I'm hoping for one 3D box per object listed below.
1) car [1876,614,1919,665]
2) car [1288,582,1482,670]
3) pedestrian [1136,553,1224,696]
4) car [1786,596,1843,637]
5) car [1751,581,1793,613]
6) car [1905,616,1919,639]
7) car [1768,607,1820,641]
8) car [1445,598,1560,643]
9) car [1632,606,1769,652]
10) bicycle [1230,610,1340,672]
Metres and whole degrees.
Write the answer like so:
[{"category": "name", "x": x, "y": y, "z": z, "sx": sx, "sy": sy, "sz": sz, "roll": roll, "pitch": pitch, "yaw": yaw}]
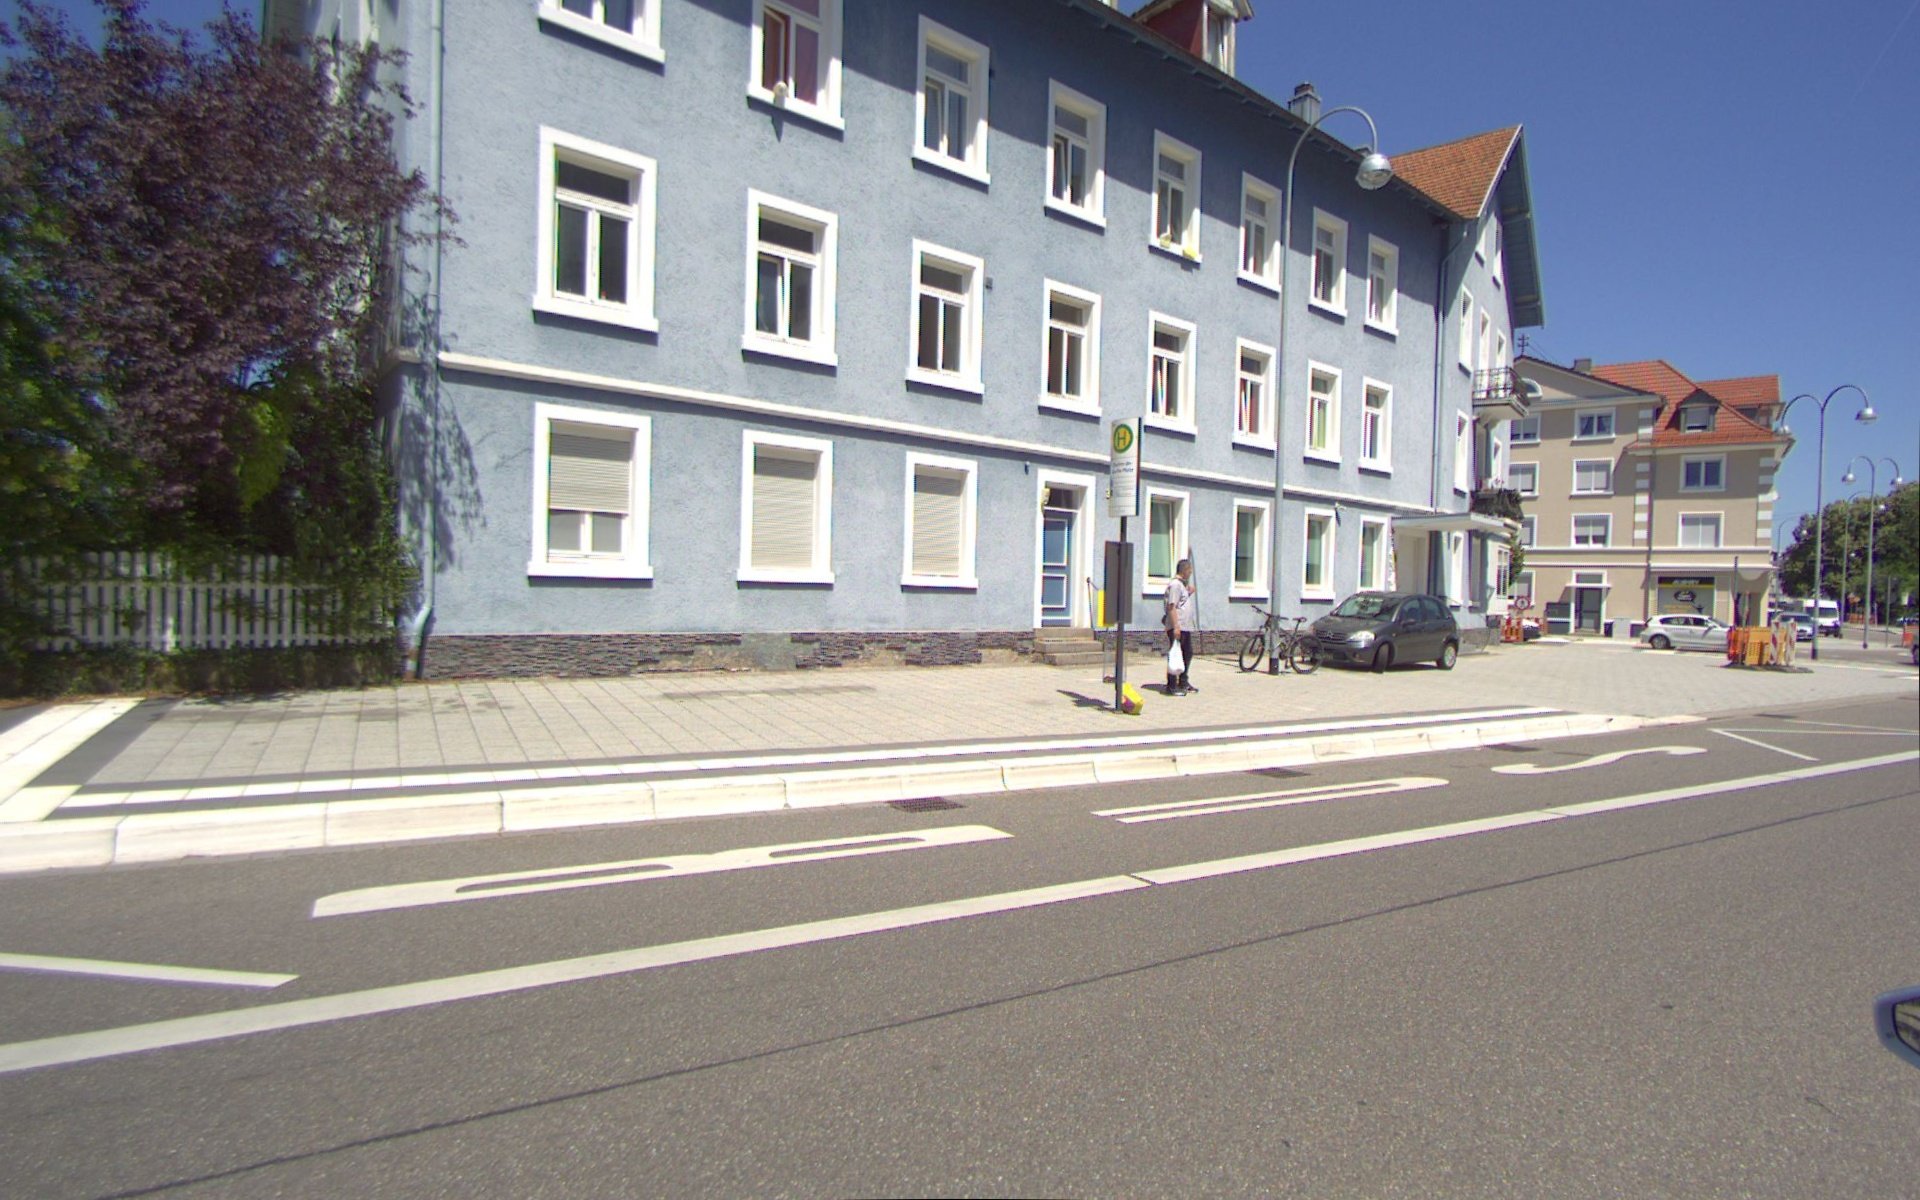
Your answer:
[{"category": "car", "x": 30.901, "y": 1.186, "z": 31.105, "sx": 1.807, "sy": 1.549, "sz": 4.396, "roll": -4, "pitch": -3, "yaw": 14}, {"category": "car", "x": 8.512, "y": 0.538, "z": 20.071, "sx": 3.730, "sy": 1.554, "sz": 1.570, "roll": 3, "pitch": 0, "yaw": -30}, {"category": "pedestrian", "x": 3.041, "y": 0.323, "z": 13.914, "sx": 0.765, "sy": 1.873, "sz": 0.749, "roll": 1, "pitch": 4, "yaw": -38}, {"category": "car", "x": 59.814, "y": 1.137, "z": 70.430, "sx": 2.115, "sy": 2.566, "sz": 6.220, "roll": 4, "pitch": 2, "yaw": 33}, {"category": "car", "x": 68.532, "y": -0.227, "z": 84.840, "sx": 2.115, "sy": 2.566, "sz": 4.841, "roll": 4, "pitch": 2, "yaw": 33}, {"category": "car", "x": 79.613, "y": 2.329, "z": 82.591, "sx": 1.786, "sy": 1.818, "sz": 3.992, "roll": 4, "pitch": 1, "yaw": 30}, {"category": "car", "x": 44.718, "y": 1.273, "z": 53.958, "sx": 1.752, "sy": 1.708, "sz": 4.678, "roll": 2, "pitch": 1, "yaw": 36}, {"category": "car", "x": 24.025, "y": 0.867, "z": 44.540, "sx": 4.182, "sy": 1.801, "sz": 1.772, "roll": 2, "pitch": 2, "yaw": 42}, {"category": "car", "x": 29.146, "y": 1.108, "z": 39.621, "sx": 1.774, "sy": 1.571, "sz": 4.077, "roll": 1, "pitch": 1, "yaw": -42}, {"category": "bicycle", "x": 5.605, "y": 0.701, "z": 17.282, "sx": 1.947, "sy": 0.991, "sz": 0.494, "roll": 1, "pitch": 5, "yaw": -27}]
